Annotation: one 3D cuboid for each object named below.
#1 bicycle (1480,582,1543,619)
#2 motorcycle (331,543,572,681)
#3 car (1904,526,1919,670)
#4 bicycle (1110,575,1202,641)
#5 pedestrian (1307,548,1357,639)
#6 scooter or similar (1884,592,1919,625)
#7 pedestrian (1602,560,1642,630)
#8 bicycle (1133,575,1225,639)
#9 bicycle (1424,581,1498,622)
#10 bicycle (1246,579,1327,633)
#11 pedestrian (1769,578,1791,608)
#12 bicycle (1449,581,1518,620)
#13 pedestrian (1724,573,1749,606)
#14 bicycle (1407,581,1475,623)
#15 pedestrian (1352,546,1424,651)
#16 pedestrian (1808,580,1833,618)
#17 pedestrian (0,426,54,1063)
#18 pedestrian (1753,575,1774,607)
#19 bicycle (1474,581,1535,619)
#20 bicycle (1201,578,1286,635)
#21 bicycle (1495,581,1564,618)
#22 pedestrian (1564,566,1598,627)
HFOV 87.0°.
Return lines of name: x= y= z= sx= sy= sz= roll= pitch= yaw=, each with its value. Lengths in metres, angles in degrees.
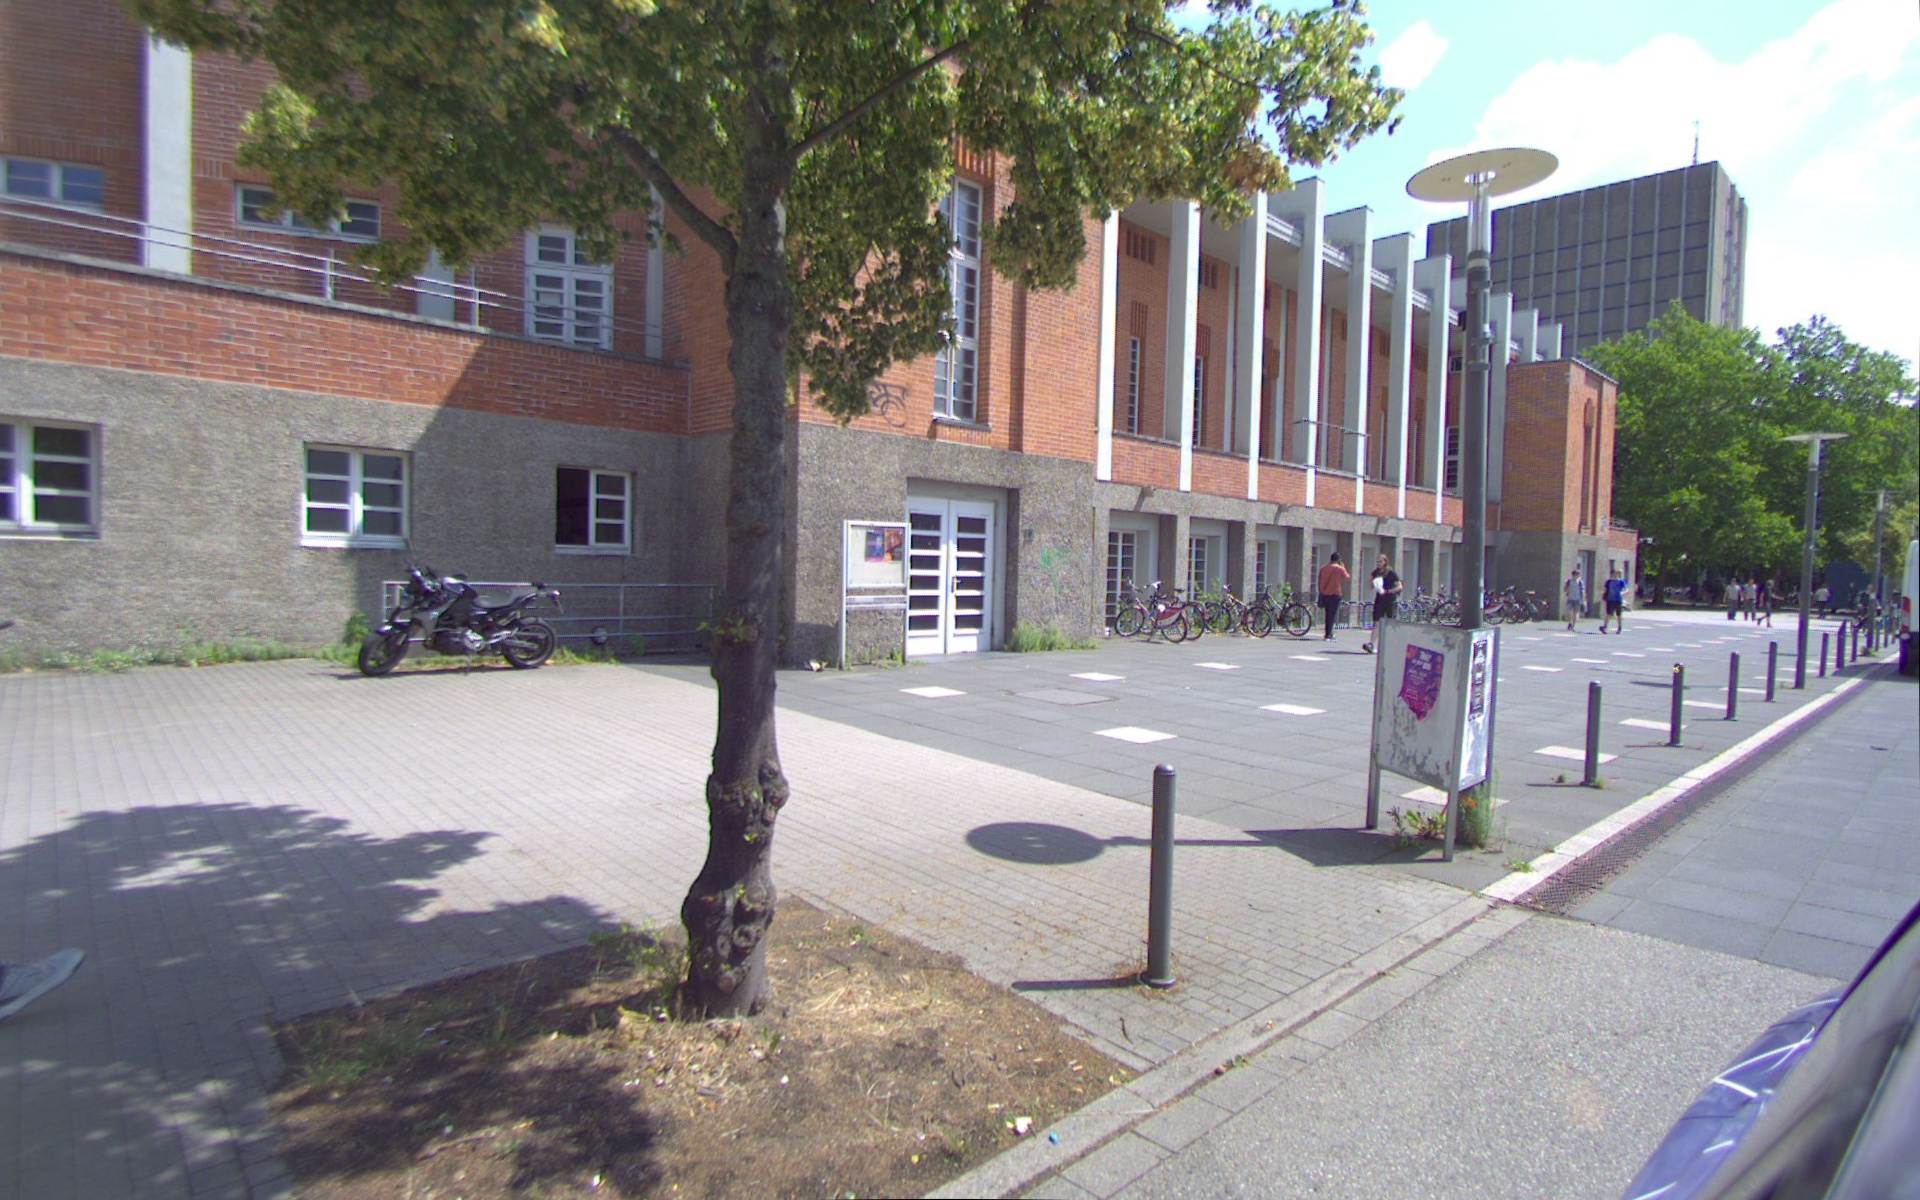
bicycle: x=17.836 y=-0.003 z=32.756 sx=0.428 sy=1.123 sz=1.696 roll=0 pitch=2 yaw=-44
motorcycle: x=-5.369 y=0.099 z=10.790 sx=2.181 sy=1.339 sz=0.697 roll=0 pitch=2 yaw=-42
car: x=19.718 y=-0.017 z=19.477 sx=2.060 sy=2.574 sz=5.756 roll=3 pitch=3 yaw=44
bicycle: x=3.705 y=0.134 z=19.238 sx=0.428 sy=1.164 sz=1.754 roll=0 pitch=2 yaw=-44
pedestrian: x=7.802 y=-0.148 z=21.203 sx=0.662 sy=1.857 sz=0.892 roll=3 pitch=2 yaw=42
scooter or similar: x=37.728 y=0.353 z=40.222 sx=0.564 sy=1.245 sz=1.359 roll=2 pitch=2 yaw=-9
pedestrian: x=18.809 y=-0.164 z=28.745 sx=0.664 sy=1.913 sz=1.092 roll=4 pitch=3 yaw=45
bicycle: x=4.292 y=0.110 z=19.945 sx=0.509 sy=1.164 sz=1.754 roll=0 pitch=2 yaw=-44
bicycle: x=14.834 y=0.015 z=30.012 sx=0.428 sy=1.123 sz=1.913 roll=0 pitch=2 yaw=-44
bicycle: x=7.230 y=0.116 z=22.475 sx=0.428 sy=1.123 sz=1.684 roll=0 pitch=2 yaw=-44
pedestrian: x=48.633 y=-0.427 z=60.046 sx=0.743 sy=1.693 sz=0.839 roll=3 pitch=2 yaw=24
bicycle: x=16.137 y=-0.009 z=31.229 sx=0.428 sy=1.123 sz=1.798 roll=0 pitch=2 yaw=-44
pedestrian: x=46.982 y=-0.656 z=61.243 sx=0.972 sy=1.970 sz=0.970 roll=0 pitch=1 yaw=24
bicycle: x=13.684 y=0.039 z=28.829 sx=0.428 sy=1.123 sz=1.684 roll=0 pitch=2 yaw=-44
pedestrian: x=7.885 y=-0.041 z=18.621 sx=0.843 sy=1.857 sz=1.179 roll=3 pitch=2 yaw=41
pedestrian: x=40.430 y=-0.050 z=47.562 sx=0.783 sy=1.696 sz=1.062 roll=4 pitch=3 yaw=44
pedestrian: x=-3.000 y=0.383 z=2.764 sx=0.779 sy=1.718 sz=0.642 roll=0 pitch=2 yaw=-42
pedestrian: x=47.919 y=-0.539 z=60.380 sx=0.774 sy=1.813 sz=0.708 roll=3 pitch=2 yaw=27
bicycle: x=17.352 y=-0.012 z=32.271 sx=0.428 sy=1.123 sz=1.652 roll=0 pitch=2 yaw=-44
bicycle: x=6.025 y=0.121 z=21.606 sx=0.428 sy=1.123 sz=1.749 roll=0 pitch=2 yaw=-44
bicycle: x=19.112 y=-0.027 z=33.993 sx=0.449 sy=1.123 sz=1.931 roll=0 pitch=2 yaw=-44
pedestrian: x=18.079 y=-0.127 z=29.471 sx=0.585 sy=1.727 sz=0.986 roll=4 pitch=3 yaw=44
